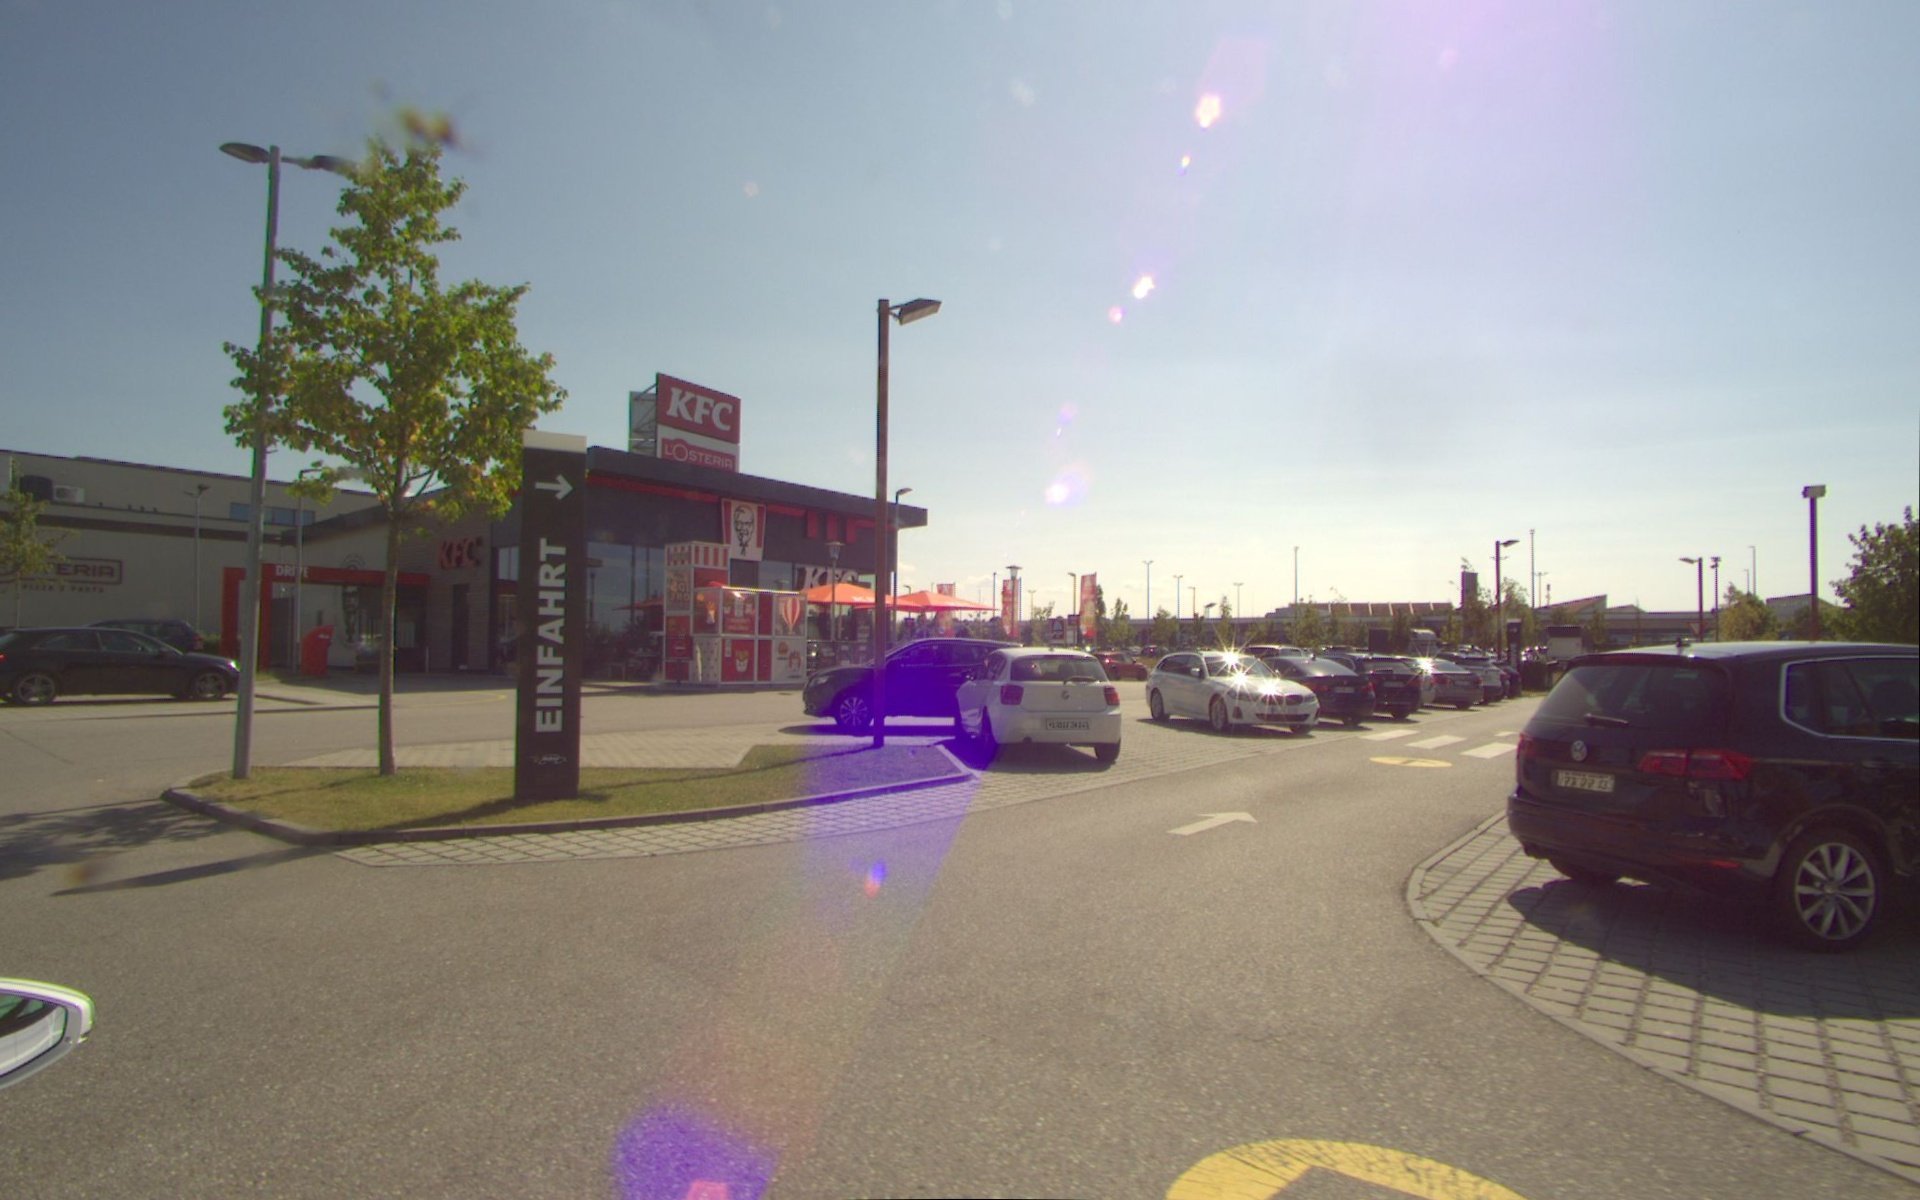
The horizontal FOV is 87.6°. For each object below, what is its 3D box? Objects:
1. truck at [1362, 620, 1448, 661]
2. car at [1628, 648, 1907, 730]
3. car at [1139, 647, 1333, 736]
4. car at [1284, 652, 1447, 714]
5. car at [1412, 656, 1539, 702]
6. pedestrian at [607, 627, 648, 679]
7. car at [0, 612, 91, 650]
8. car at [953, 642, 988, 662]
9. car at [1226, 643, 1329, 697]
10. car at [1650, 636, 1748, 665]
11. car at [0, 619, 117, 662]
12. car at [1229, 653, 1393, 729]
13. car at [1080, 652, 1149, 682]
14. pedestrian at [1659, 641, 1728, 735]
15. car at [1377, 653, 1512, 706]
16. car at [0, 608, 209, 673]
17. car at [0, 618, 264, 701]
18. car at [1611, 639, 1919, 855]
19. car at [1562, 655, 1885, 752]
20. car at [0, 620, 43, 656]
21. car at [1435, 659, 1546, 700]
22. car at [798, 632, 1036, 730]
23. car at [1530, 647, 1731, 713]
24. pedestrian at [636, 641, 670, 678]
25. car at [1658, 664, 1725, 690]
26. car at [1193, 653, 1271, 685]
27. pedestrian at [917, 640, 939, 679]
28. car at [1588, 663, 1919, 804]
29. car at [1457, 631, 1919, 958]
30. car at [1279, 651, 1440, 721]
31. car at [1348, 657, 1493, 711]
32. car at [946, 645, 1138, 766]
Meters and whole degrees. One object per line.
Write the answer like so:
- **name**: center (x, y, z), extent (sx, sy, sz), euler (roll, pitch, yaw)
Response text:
- **truck**: center (38.380, 3.465, 86.730), extent (2.381, 3.394, 7.552), euler (2, -2, -18)
- **car**: center (16.510, 1.795, 20.597), extent (4.332, 1.530, 1.984), euler (1, -2, -6)
- **car**: center (5.180, 1.691, 19.476), extent (1.878, 1.490, 4.471), euler (2, -3, -10)
- **car**: center (11.076, 2.232, 27.698), extent (1.749, 1.530, 4.343), euler (2, -3, -20)
- **car**: center (18.110, 2.759, 35.386), extent (1.765, 1.440, 4.084), euler (2, -3, -14)
- **pedestrian**: center (-9.688, 1.537, 29.191), extent (0.762, 1.453, 0.795), euler (0, -2, 35)
- **car**: center (-37.220, 1.237, 39.625), extent (1.628, 1.438, 3.979), euler (0, -3, 35)
- **car**: center (1.094, 5.546, 107.710), extent (1.967, 2.039, 5.009), euler (2, -2, -21)
- **car**: center (11.313, 2.456, 35.520), extent (2.047, 1.771, 4.338), euler (-1, -3, 39)
- **car**: center (61.848, 4.204, 83.902), extent (6.490, 2.272, 2.286), euler (-1, -3, 38)
- **car**: center (-32.103, 1.422, 34.811), extent (1.628, 1.438, 3.979), euler (0, -3, 35)
- **car**: center (7.446, 1.895, 21.672), extent (1.786, 1.420, 4.001), euler (1, -3, -6)
- **car**: center (8.139, 3.523, 52.613), extent (3.721, 1.472, 1.671), euler (4, -3, -44)
- **pedestrian**: center (15.639, 1.856, 21.353), extent (0.893, 1.940, 1.020), euler (3, -2, -40)
- **car**: center (15.951, 2.586, 33.230), extent (1.775, 1.575, 4.050), euler (2, -3, -17)
- **car**: center (-24.316, 1.170, 28.541), extent (1.618, 1.706, 4.363), euler (0, -3, 33)
- **car**: center (-16.301, 1.144, 19.503), extent (1.677, 1.459, 4.188), euler (0, -3, 37)
- **car**: center (8.260, 1.243, 8.871), extent (3.990, 1.660, 1.748), euler (2, -2, -7)
- **car**: center (13.273, 1.779, 17.580), extent (4.332, 1.530, 1.984), euler (1, -2, -6)
- **car**: center (-39.871, 1.507, 40.384), extent (1.628, 1.438, 3.979), euler (0, -3, 35)
- **car**: center (20.117, 2.992, 38.147), extent (1.877, 1.440, 3.776), euler (2, -3, -8)
- **car**: center (-0.790, 1.420, 17.875), extent (4.008, 1.596, 1.758), euler (1, -2, -6)
- **car**: center (16.219, 1.927, 24.324), extent (3.828, 1.444, 1.707), euler (2, -2, -4)
- **pedestrian**: center (-9.140, 1.766, 29.837), extent (0.620, 1.085, 0.713), euler (0, -2, 35)
- **car**: center (54.559, 5.710, 74.750), extent (3.945, 1.749, 1.884), euler (-1, -3, 35)
- **car**: center (12.978, 3.276, 47.669), extent (1.869, 1.415, 4.120), euler (-1, -3, 44)
- **pedestrian**: center (-1.084, 2.017, 33.949), extent (0.584, 1.285, 0.686), euler (1, -2, 12)
- **car**: center (9.894, 1.533, 11.771), extent (4.004, 1.425, 1.794), euler (2, -2, -7)
- **car**: center (5.473, 1.026, 6.013), extent (4.111, 1.556, 1.896), euler (2, -2, -8)
- **car**: center (9.522, 2.022, 24.237), extent (1.787, 1.507, 3.999), euler (2, -3, -10)
- **car**: center (13.742, 2.483, 30.222), extent (1.680, 1.428, 4.682), euler (2, -3, -9)
- **car**: center (0.991, 1.382, 14.260), extent (1.809, 1.443, 4.186), euler (2, -3, -8)
